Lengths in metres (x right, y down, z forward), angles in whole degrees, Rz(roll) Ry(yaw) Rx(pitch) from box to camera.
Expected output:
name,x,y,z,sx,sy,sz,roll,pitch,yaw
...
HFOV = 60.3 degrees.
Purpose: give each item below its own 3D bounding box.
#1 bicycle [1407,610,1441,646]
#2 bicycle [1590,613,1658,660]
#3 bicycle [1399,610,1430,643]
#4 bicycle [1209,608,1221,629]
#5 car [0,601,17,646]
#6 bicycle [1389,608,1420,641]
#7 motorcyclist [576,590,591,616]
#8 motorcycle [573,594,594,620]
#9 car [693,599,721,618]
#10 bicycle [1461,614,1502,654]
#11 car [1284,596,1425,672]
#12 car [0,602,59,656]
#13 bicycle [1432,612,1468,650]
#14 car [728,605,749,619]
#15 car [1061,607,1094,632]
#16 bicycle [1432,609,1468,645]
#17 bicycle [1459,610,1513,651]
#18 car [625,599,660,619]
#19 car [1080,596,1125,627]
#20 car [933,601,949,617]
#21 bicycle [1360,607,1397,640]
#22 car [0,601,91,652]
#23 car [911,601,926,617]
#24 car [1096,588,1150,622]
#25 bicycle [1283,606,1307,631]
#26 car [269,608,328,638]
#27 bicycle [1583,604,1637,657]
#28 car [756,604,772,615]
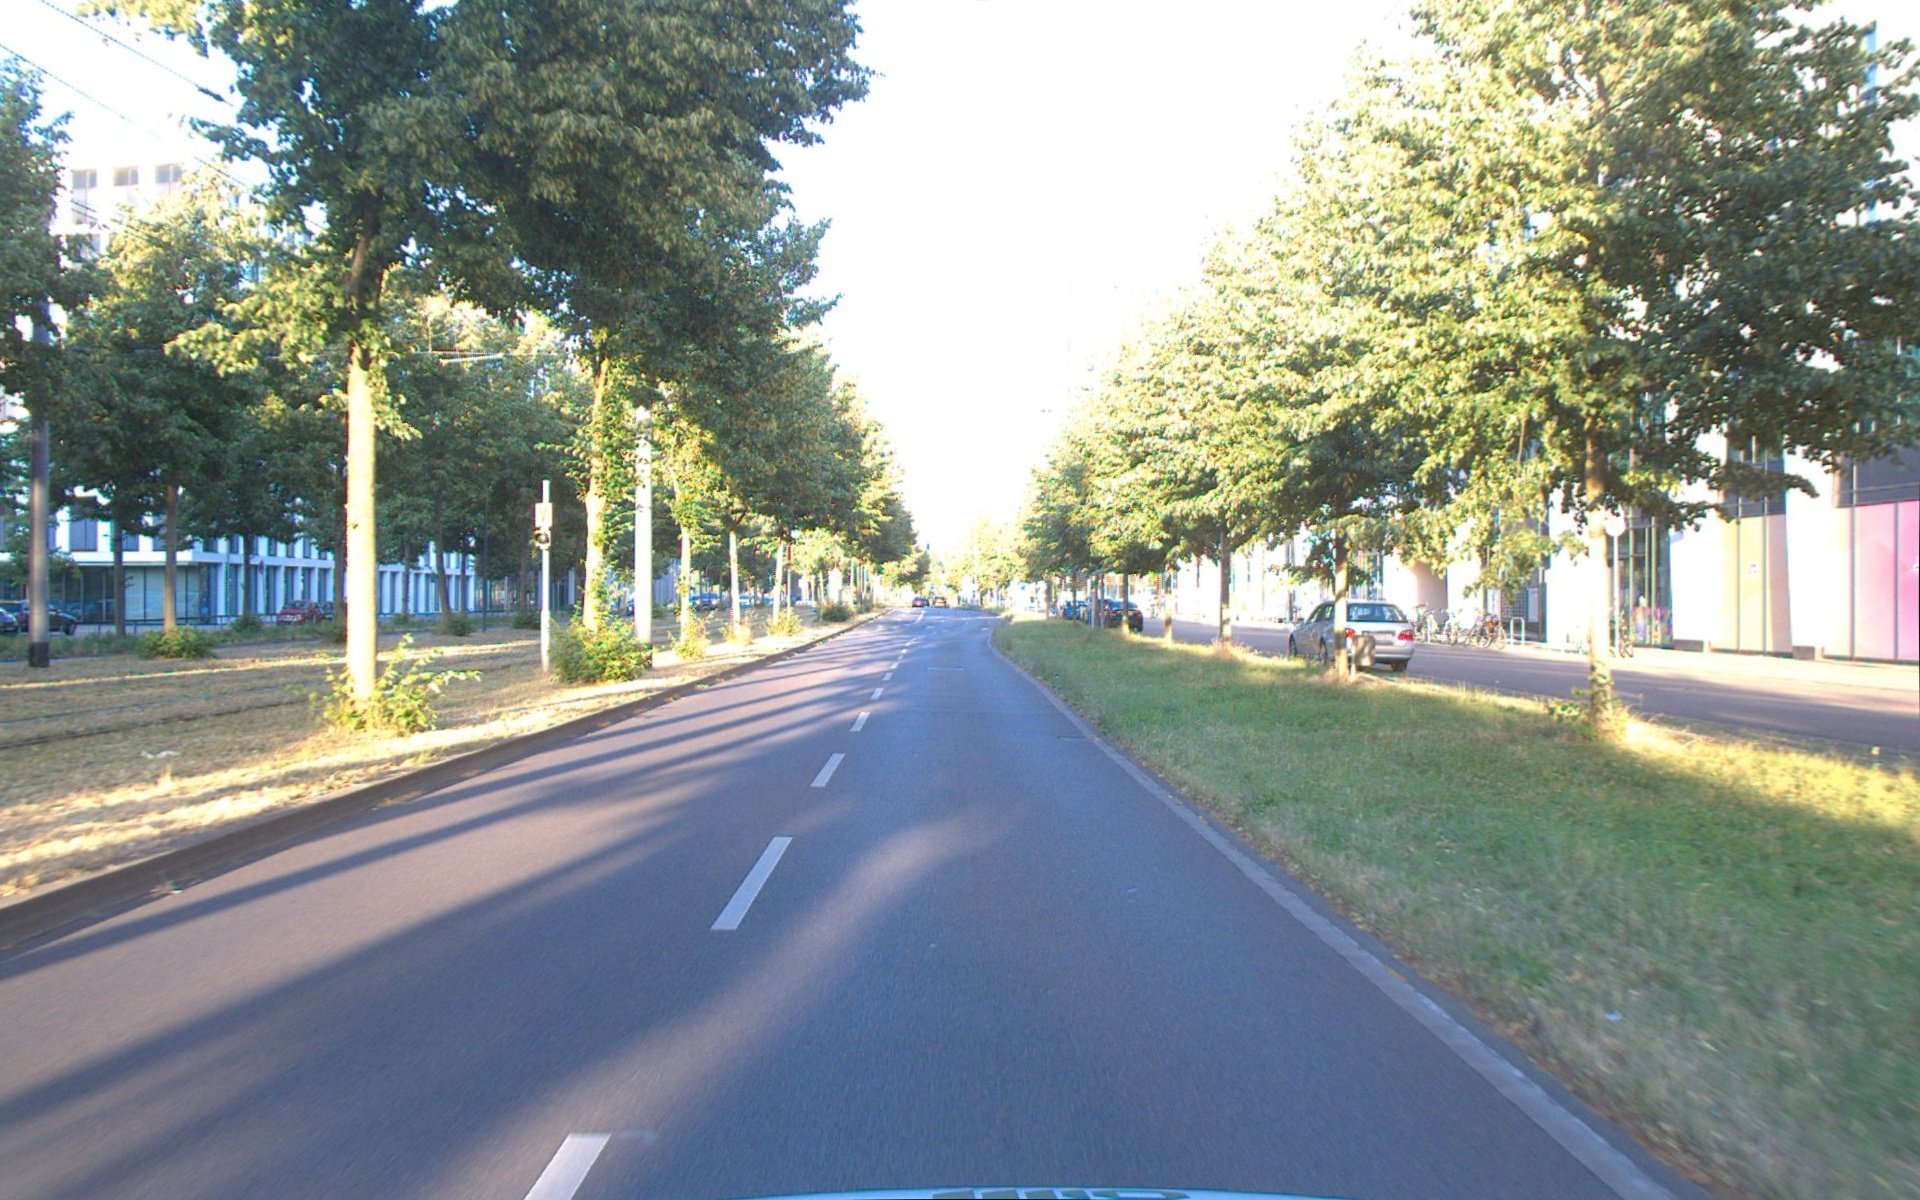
name,x,y,z,sx,sy,sz,roll,pitch,yaw
bicycle,15.025,0.896,53.548,0.522,1.079,1.857,-2,0,-1
bicycle,15.785,0.850,39.358,0.524,1.079,1.850,-2,0,-13
bicycle,15.649,0.900,57.003,0.522,1.079,1.856,-2,0,-1
bicycle,14.306,1.039,92.800,0.558,1.144,1.835,-2,0,10
car,-37.476,0.866,61.313,3.908,1.668,1.920,0,0,-4
bicycle,15.059,0.824,56.045,0.522,1.079,1.856,0,0,-1
motorcyclist,-20.519,0.180,90.189,0.667,1.400,0.804,0,0,-2
motorcycle,-20.528,0.377,90.265,0.668,1.360,2.344,0,0,-2
car,-21.453,0.689,140.306,1.847,1.605,4.180,0,0,-2
bicycle,15.025,0.973,47.696,0.522,1.079,1.857,-2,0,-1
car,8.409,0.678,35.681,1.772,1.527,4.824,0,0,-2
car,-37.511,1.114,64.263,3.908,2.049,1.998,0,0,-4
bicycle,14.992,0.936,50.645,0.522,1.079,1.857,-2,0,-1
car,-22.091,1.153,164.976,1.623,1.355,4.528,0,0,-2
car,7.465,1.239,105.581,1.689,1.556,4.267,1,0,-1
bicycle,15.551,0.856,52.509,0.522,1.079,1.857,-2,0,-1
bicycle,14.613,0.836,45.968,0.524,1.079,1.850,-2,0,-13
car,-23.809,0.675,124.172,1.879,1.534,4.286,0,0,-1
car,7.458,0.597,86.917,1.817,1.556,4.481,1,0,-1
car,-2.389,1.099,210.306,1.953,2.049,3.999,0,0,-2
bicycle,14.378,0.801,56.877,0.523,1.079,1.776,-2,0,-10
car,-38.138,1.068,68.374,1.953,2.049,4.930,0,0,-2
car,-5.700,1.210,226.605,2.045,2.049,3.999,0,0,-2
car,7.778,0.236,79.483,1.905,1.576,4.809,0,0,-3
bicycle,14.700,0.798,72.662,0.639,1.057,2.055,0,0,-1
car,-36.346,1.246,90.944,1.822,1.609,3.492,0,0,0
bicycle,15.439,0.713,39.319,0.527,1.184,1.781,-2,0,0
car,-25.038,1.185,211.696,1.740,1.436,3.707,0,0,-3
